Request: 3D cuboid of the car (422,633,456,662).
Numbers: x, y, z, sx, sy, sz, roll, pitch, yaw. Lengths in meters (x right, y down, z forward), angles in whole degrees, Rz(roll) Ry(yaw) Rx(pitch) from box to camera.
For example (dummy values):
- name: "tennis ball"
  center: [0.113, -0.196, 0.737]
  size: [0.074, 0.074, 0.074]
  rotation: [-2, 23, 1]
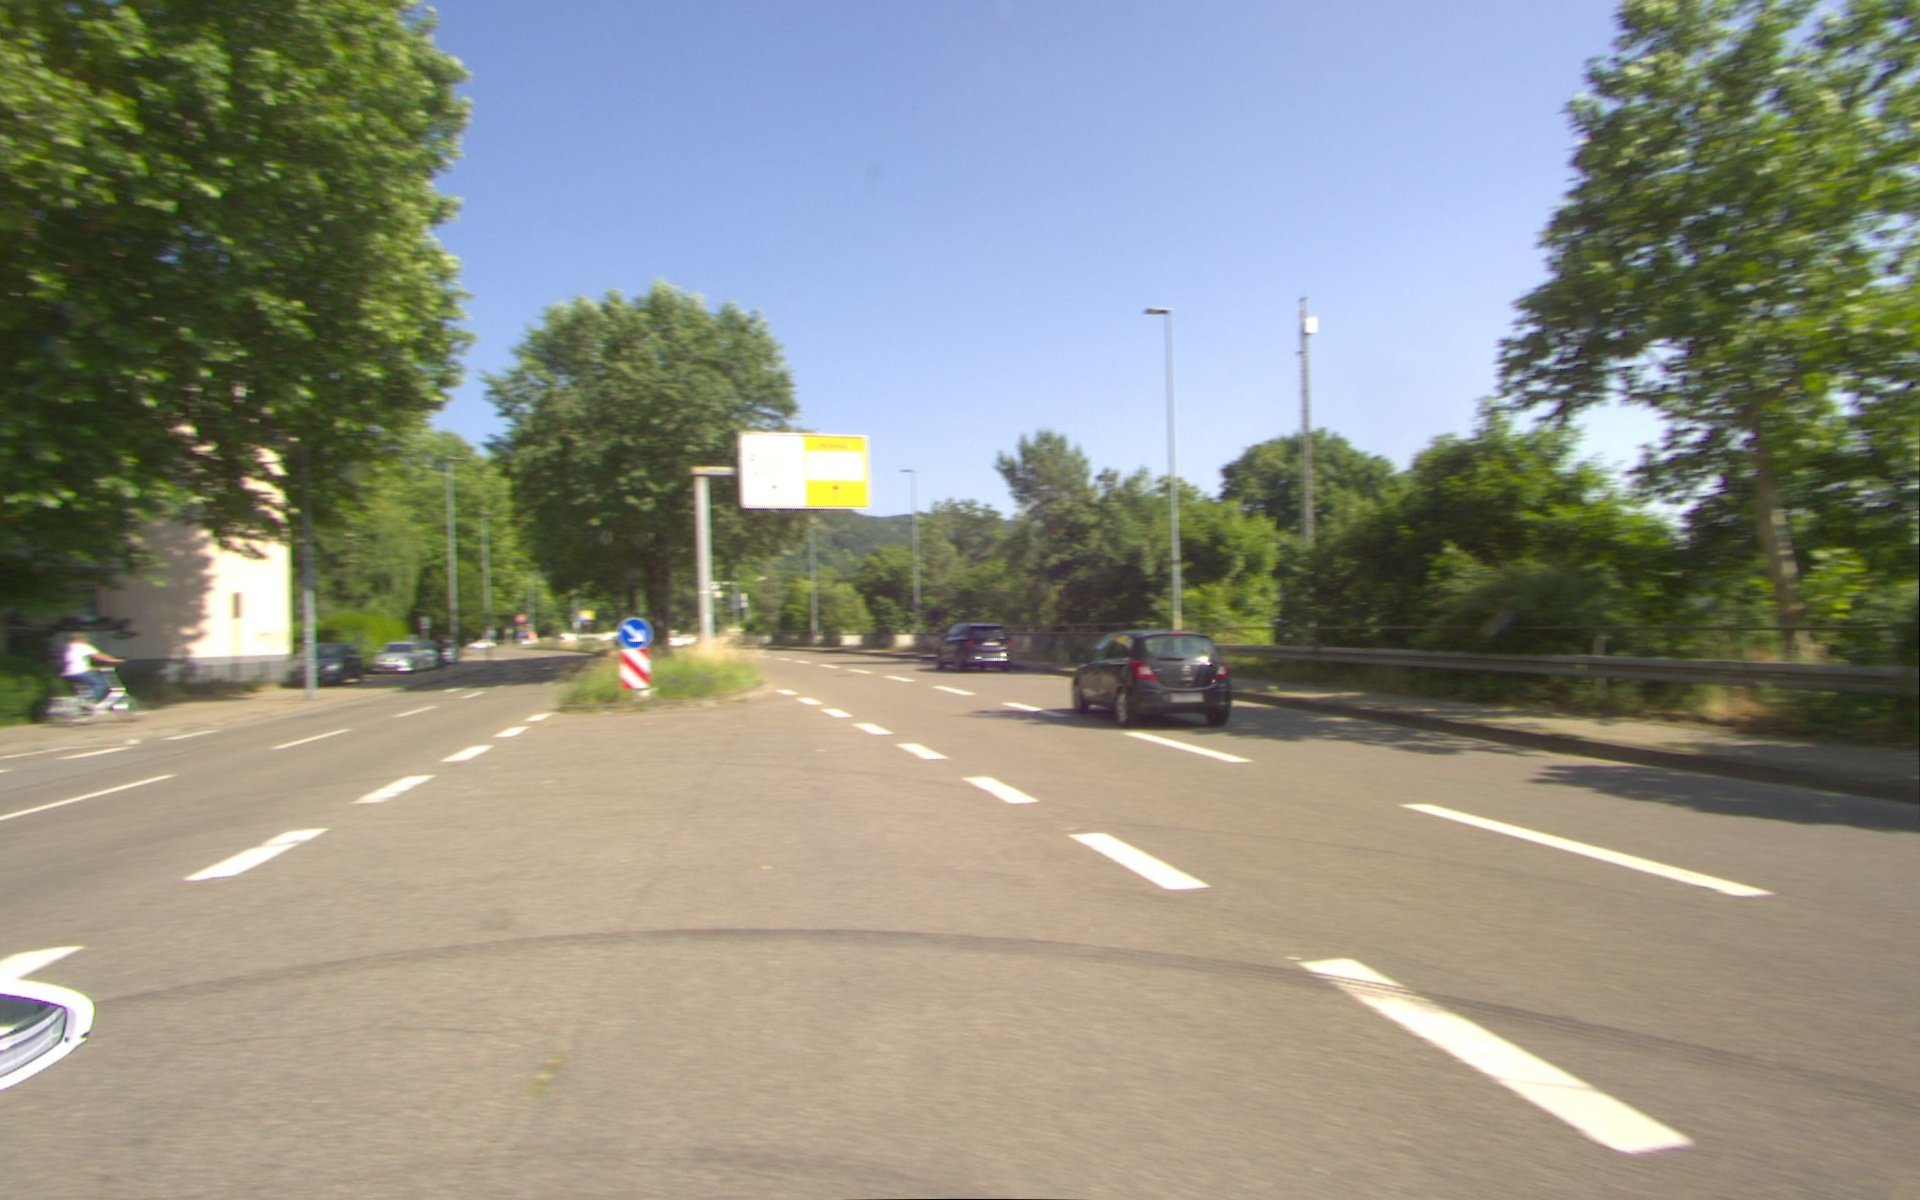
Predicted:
- name: "car"
  center: [-33.194, 3.019, 63.885]
  size: [1.747, 1.701, 3.986]
  rotation: [-1, -1, -25]

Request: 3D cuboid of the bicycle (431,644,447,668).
- name: "bicycle"
  center: [-25.285, 2.711, 48.624]
  size: [0.651, 1.137, 1.796]
  rotation: [-1, -1, -26]

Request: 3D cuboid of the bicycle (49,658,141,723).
- name: "bicycle"
  center: [-17.315, 1.797, 20.062]
  size: [0.546, 1.204, 1.281]
  rotation: [-2, -1, 29]

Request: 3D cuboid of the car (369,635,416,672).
- name: "car"
  center: [-26.596, 2.485, 46.996]
  size: [1.621, 1.594, 3.985]
  rotation: [-1, -1, -26]

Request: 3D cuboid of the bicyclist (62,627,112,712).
- name: "bicyclist"
  center: [-17.388, 1.371, 19.944]
  size: [0.533, 1.654, 0.587]
  rotation: [-2, -1, 29]

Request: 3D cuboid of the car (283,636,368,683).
- name: "car"
  center: [-22.694, 2.100, 35.961]
  size: [1.763, 1.532, 3.885]
  rotation: [-1, -1, -20]

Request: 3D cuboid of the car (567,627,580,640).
- name: "car"
  center: [-58.878, 5.099, 152.524]
  size: [1.609, 1.835, 3.580]
  rotation: [-1, -1, -25]

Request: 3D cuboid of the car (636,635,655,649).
- name: "car"
  center: [-35.947, 4.751, 114.368]
  size: [1.609, 1.514, 3.668]
  rotation: [-1, -1, -25]

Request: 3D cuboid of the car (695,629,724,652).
- name: "car"
  center: [-21.801, 3.490, 87.023]
  size: [1.966, 1.915, 3.990]
  rotation: [-1, -1, -21]

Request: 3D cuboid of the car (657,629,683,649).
- name: "car"
  center: [-29.185, 3.946, 100.722]
  size: [1.968, 1.915, 3.986]
  rotation: [-1, -1, -25]

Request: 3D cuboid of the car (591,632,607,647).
- name: "car"
  center: [-46.194, 5.072, 128.183]
  size: [1.609, 1.834, 3.580]
  rotation: [0, -2, -25]

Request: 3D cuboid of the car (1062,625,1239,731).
- name: "car"
  center: [2.967, 1.179, 16.333]
  size: [1.650, 1.488, 3.576]
  rotation: [-1, -1, -10]

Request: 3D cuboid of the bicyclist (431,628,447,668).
- name: "bicyclist"
  center: [-25.379, 2.326, 48.774]
  size: [0.638, 1.919, 0.836]
  rotation: [-1, -1, -26]

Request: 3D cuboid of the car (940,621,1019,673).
- name: "car"
  center: [0.608, 1.647, 35.629]
  size: [1.888, 1.685, 4.310]
  rotation: [-1, -1, -12]
